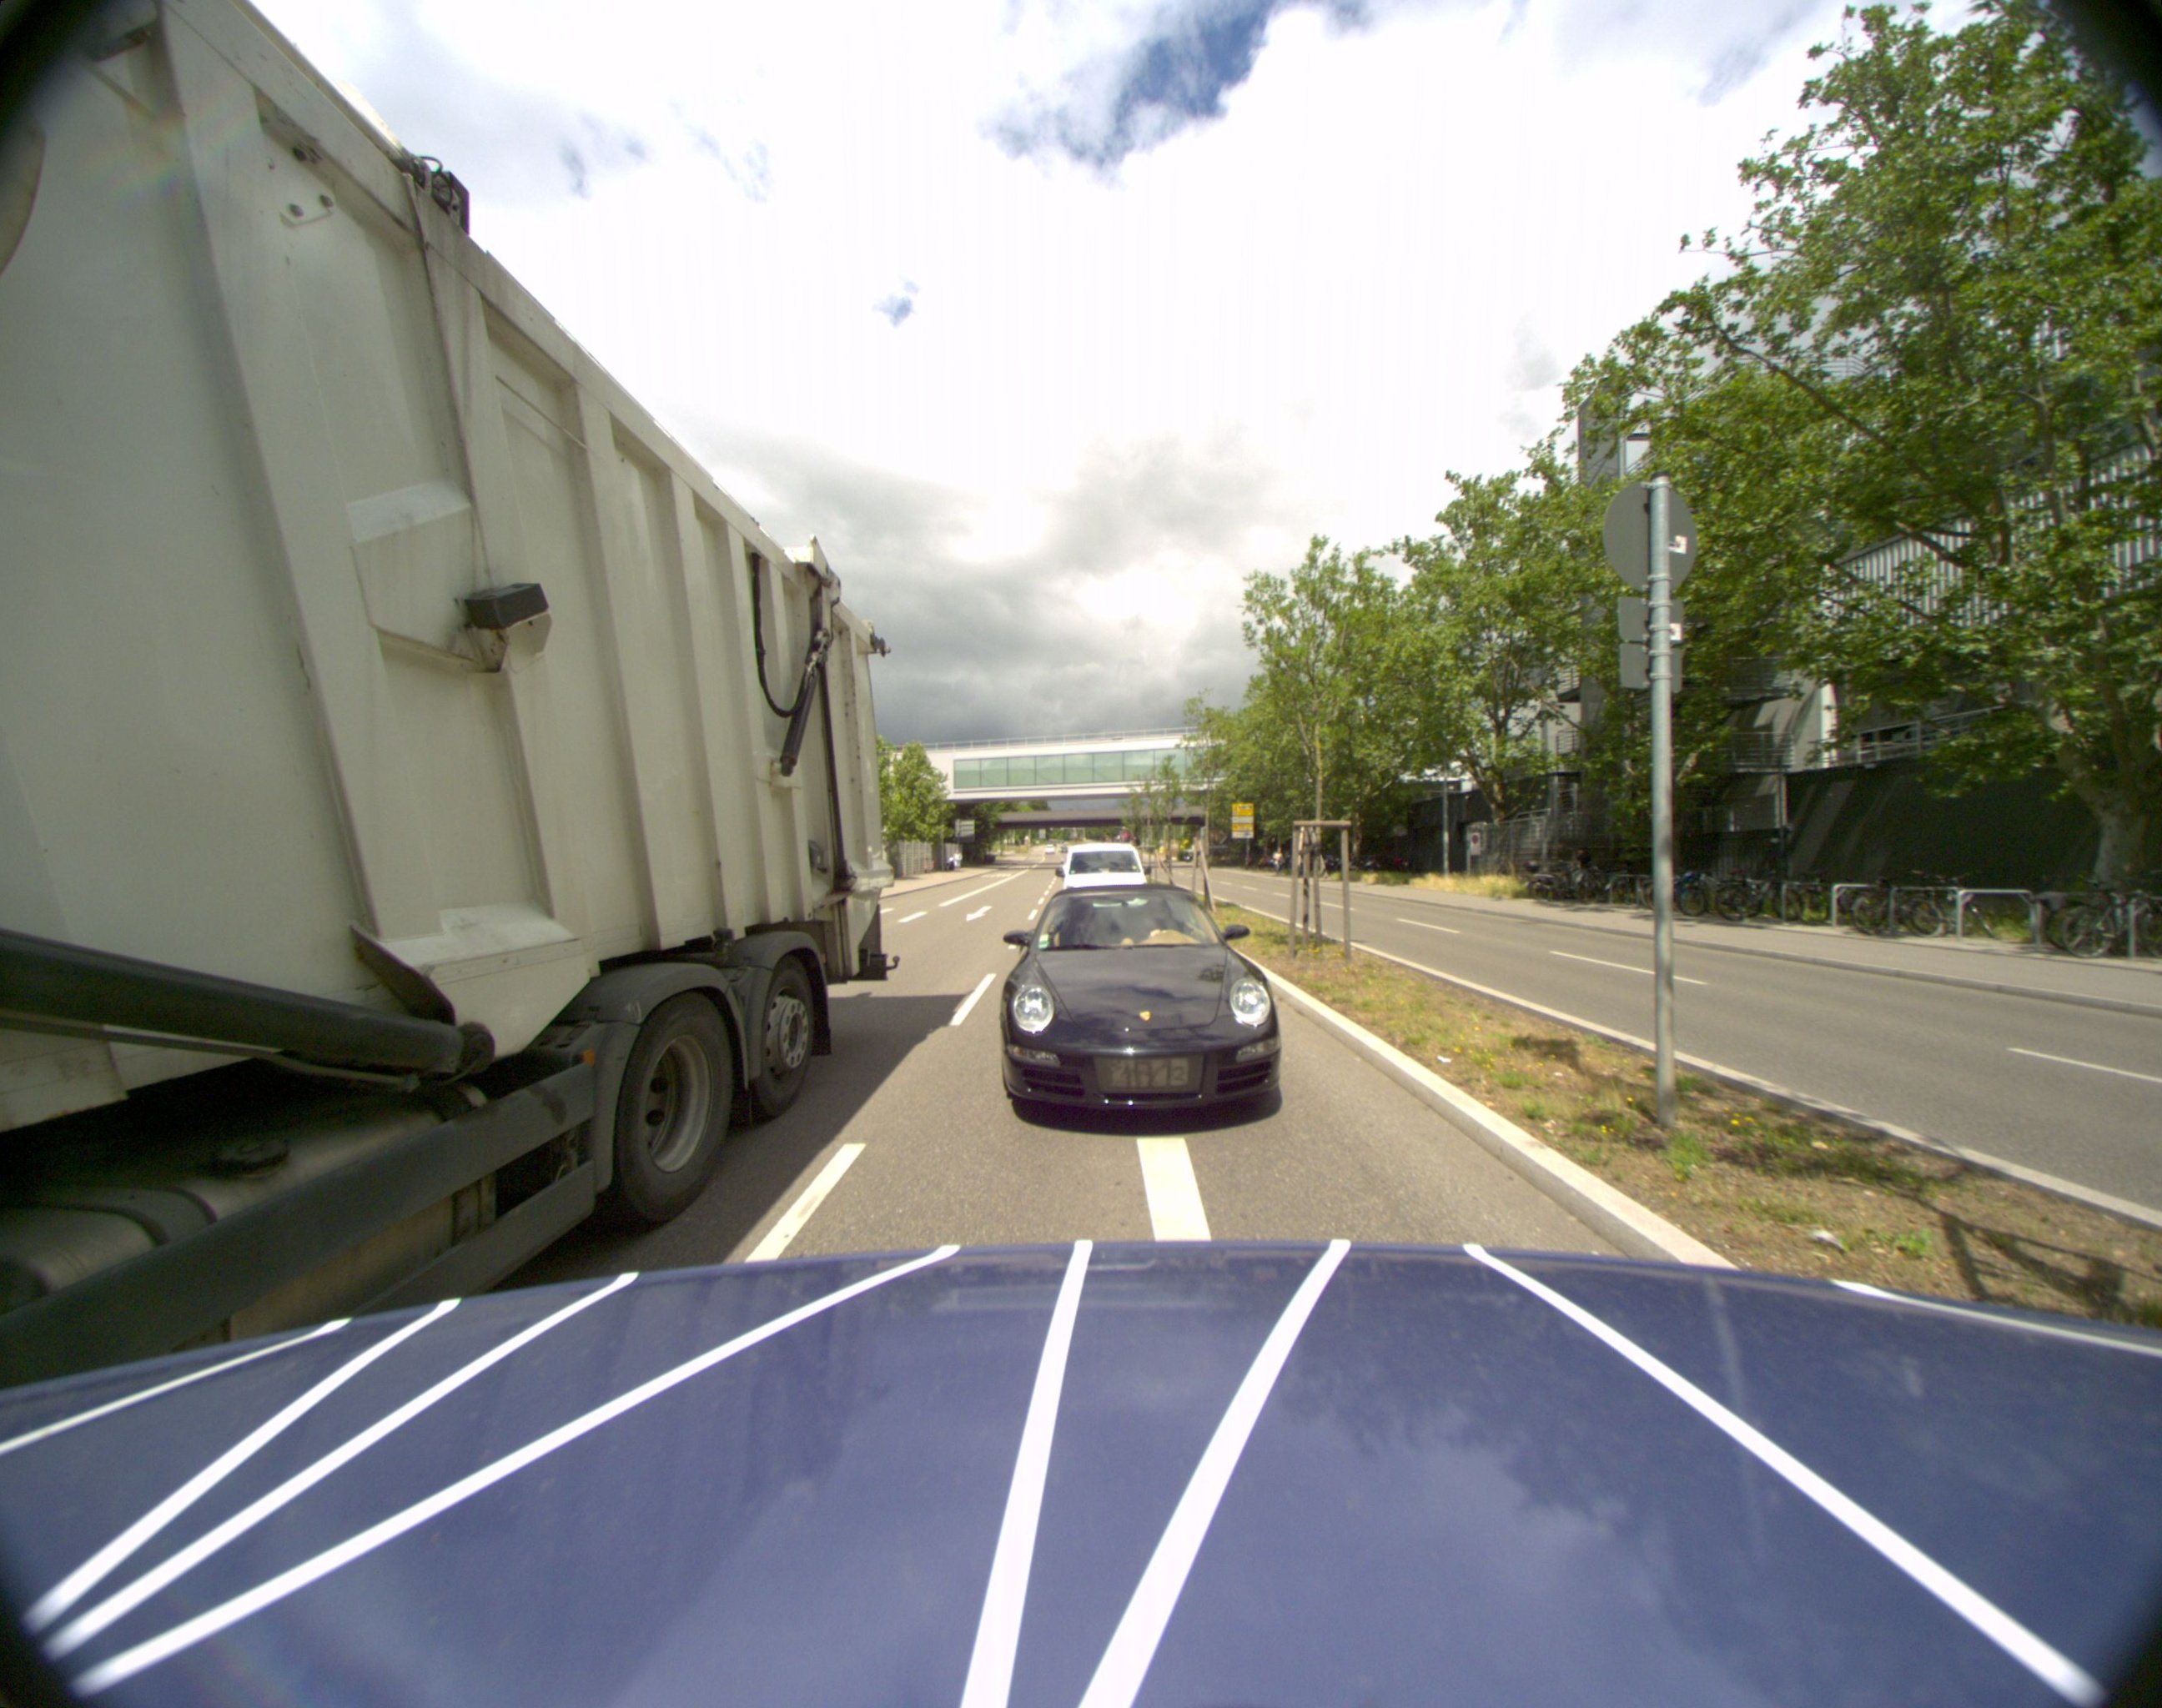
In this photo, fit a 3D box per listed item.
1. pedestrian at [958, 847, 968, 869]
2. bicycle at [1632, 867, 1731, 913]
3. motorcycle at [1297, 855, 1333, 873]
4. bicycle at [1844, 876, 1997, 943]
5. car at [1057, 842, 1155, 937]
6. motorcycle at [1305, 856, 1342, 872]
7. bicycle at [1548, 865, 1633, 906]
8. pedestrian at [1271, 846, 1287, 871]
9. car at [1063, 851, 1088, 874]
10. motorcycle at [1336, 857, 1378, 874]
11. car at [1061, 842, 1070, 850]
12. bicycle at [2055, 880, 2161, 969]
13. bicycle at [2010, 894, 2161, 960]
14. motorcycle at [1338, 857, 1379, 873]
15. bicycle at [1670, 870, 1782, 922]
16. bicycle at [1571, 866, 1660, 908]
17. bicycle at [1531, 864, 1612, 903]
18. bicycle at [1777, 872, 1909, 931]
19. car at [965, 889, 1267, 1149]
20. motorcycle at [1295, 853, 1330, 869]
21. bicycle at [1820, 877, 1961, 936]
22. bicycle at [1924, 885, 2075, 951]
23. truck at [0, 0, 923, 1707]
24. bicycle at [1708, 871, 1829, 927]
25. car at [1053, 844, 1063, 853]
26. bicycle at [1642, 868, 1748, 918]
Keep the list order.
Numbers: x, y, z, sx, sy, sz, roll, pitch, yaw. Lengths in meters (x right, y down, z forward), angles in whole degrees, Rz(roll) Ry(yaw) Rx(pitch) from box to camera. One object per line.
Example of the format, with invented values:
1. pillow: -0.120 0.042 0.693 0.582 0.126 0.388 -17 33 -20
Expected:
1. pedestrian: -10.541 0.363 67.841 0.739 1.901 0.658 -2 1 -1
2. bicycle: 15.068 0.902 19.086 2.129 1.104 0.382 -1 1 3
3. motorcycle: 15.115 0.638 49.083 2.133 1.131 0.534 -1 0 1
4. bicycle: 14.581 0.963 13.220 2.129 1.089 0.382 -1 1 3
5. car: 0.518 0.693 17.254 1.862 1.800 4.906 -1 0 1
6. motorcycle: 15.240 0.634 47.715 2.133 0.963 0.534 -1 0 1
7. bicycle: 14.756 0.909 22.021 2.129 1.104 0.382 -1 1 3
8. pedestrian: 13.244 0.298 50.775 0.900 1.710 0.673 -1 1 1
9. car: -0.415 0.627 56.569 1.747 1.647 3.545 -1 0 0
10. motorcycle: 15.399 0.615 42.385 2.133 0.893 0.534 -1 0 1
11. car: -3.733 -1.861 181.272 1.862 1.800 4.357 -3 0 1
12. bicycle: 14.356 0.933 10.237 1.993 1.121 0.382 -1 1 -1
13. bicycle: 14.959 1.077 11.240 1.993 0.885 0.382 -1 1 -1
14. motorcycle: 16.260 0.624 44.538 2.133 0.880 0.534 -1 0 1
15. bicycle: 14.482 0.939 17.084 2.129 1.104 0.382 -1 1 3
16. bicycle: 14.825 0.922 21.098 2.129 1.104 0.382 -1 1 3
17. bicycle: 14.752 0.873 22.862 2.129 1.104 0.382 -1 1 3
18. bicycle: 15.044 0.933 15.021 2.129 1.104 0.382 -1 1 3
19. car: 0.228 1.041 6.284 1.710 1.280 3.806 -1 0 1
20. motorcycle: 15.378 0.452 50.476 2.133 0.963 0.534 -1 0 1
21. bicycle: 15.014 0.975 14.114 2.129 1.025 0.382 -1 1 3
22. bicycle: 14.755 1.019 12.219 1.993 0.992 0.382 -1 1 -1
23. truck: -2.940 -0.242 2.733 2.495 3.890 10.172 -2 1 0
24. bicycle: 14.503 0.950 16.060 2.129 1.104 0.382 -1 1 3
25. car: -5.280 -1.250 173.618 1.925 2.082 4.657 -1 0 2
26. bicycle: 14.507 0.914 17.971 2.129 1.104 0.382 -1 1 3
